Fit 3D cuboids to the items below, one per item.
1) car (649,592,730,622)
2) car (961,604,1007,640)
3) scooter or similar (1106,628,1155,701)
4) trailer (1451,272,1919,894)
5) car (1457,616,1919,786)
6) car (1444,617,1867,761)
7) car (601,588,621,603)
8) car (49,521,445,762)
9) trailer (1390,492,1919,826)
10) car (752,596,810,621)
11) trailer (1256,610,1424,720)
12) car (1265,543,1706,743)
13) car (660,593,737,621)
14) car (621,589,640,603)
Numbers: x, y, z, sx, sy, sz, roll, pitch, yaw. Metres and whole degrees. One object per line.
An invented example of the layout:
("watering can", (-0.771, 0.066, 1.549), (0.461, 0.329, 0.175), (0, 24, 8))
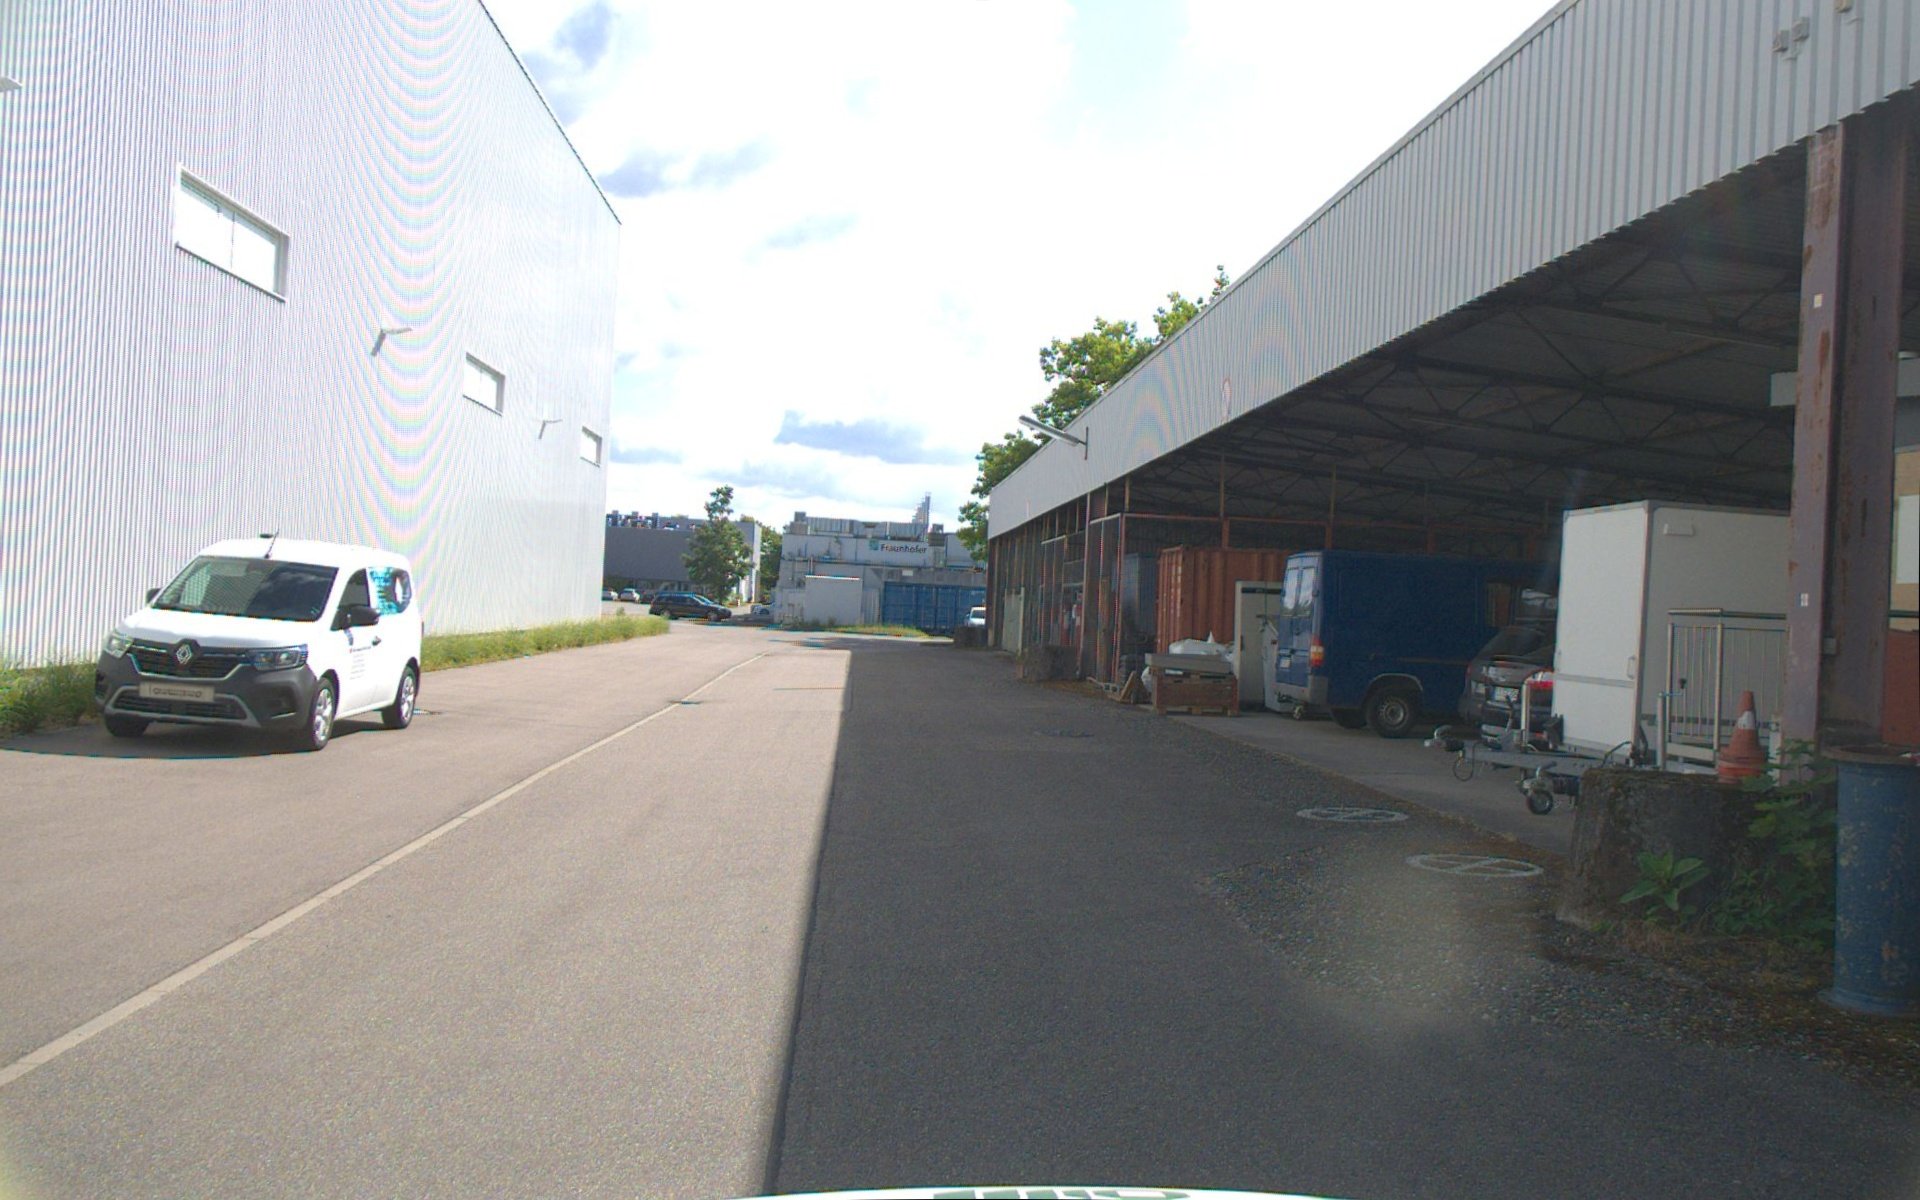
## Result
("car", (-15.900, 0.428, 97.326), (4.440, 1.468, 1.985), (3, -2, -4))
("car", (1.236, 1.144, 85.988), (1.942, 1.621, 4.337), (3, 1, -4))
("scooter or similar", (2.813, 1.050, 27.355), (0.510, 1.154, 1.591), (2, -1, -4))
("trailer", (8.578, -0.006, 10.600), (10.088, 3.353, 2.673), (1, 0, -4))
("car", (7.113, 0.921, 15.616), (4.261, 1.458, 1.862), (1, -1, -7))
("car", (7.778, 0.972, 18.728), (4.026, 1.479, 1.849), (1, -1, -4))
("car", (-40.644, -0.518, 192.468), (1.841, 1.564, 4.030), (1, -1, -6))
("car", (-6.474, 0.342, 15.684), (1.890, 1.821, 4.594), (4, 0, -4))
("trailer", (5.825, 0.451, 12.920), (4.451, 2.376, 1.687), (1, 0, -3))
("car", (-13.527, 0.651, 125.305), (4.195, 1.597, 1.985), (3, -2, -4))
("trailer", (5.568, 0.940, 24.379), (2.051, 1.488, 1.641), (2, -1, -1))
("car", (6.843, 0.559, 21.868), (5.114, 2.337, 2.082), (2, -1, -5))
("car", (-15.883, 0.445, 100.592), (4.440, 1.468, 1.902), (3, -2, -4))
("car", (-38.383, -0.473, 192.860), (1.841, 1.564, 4.030), (1, -1, -6))
